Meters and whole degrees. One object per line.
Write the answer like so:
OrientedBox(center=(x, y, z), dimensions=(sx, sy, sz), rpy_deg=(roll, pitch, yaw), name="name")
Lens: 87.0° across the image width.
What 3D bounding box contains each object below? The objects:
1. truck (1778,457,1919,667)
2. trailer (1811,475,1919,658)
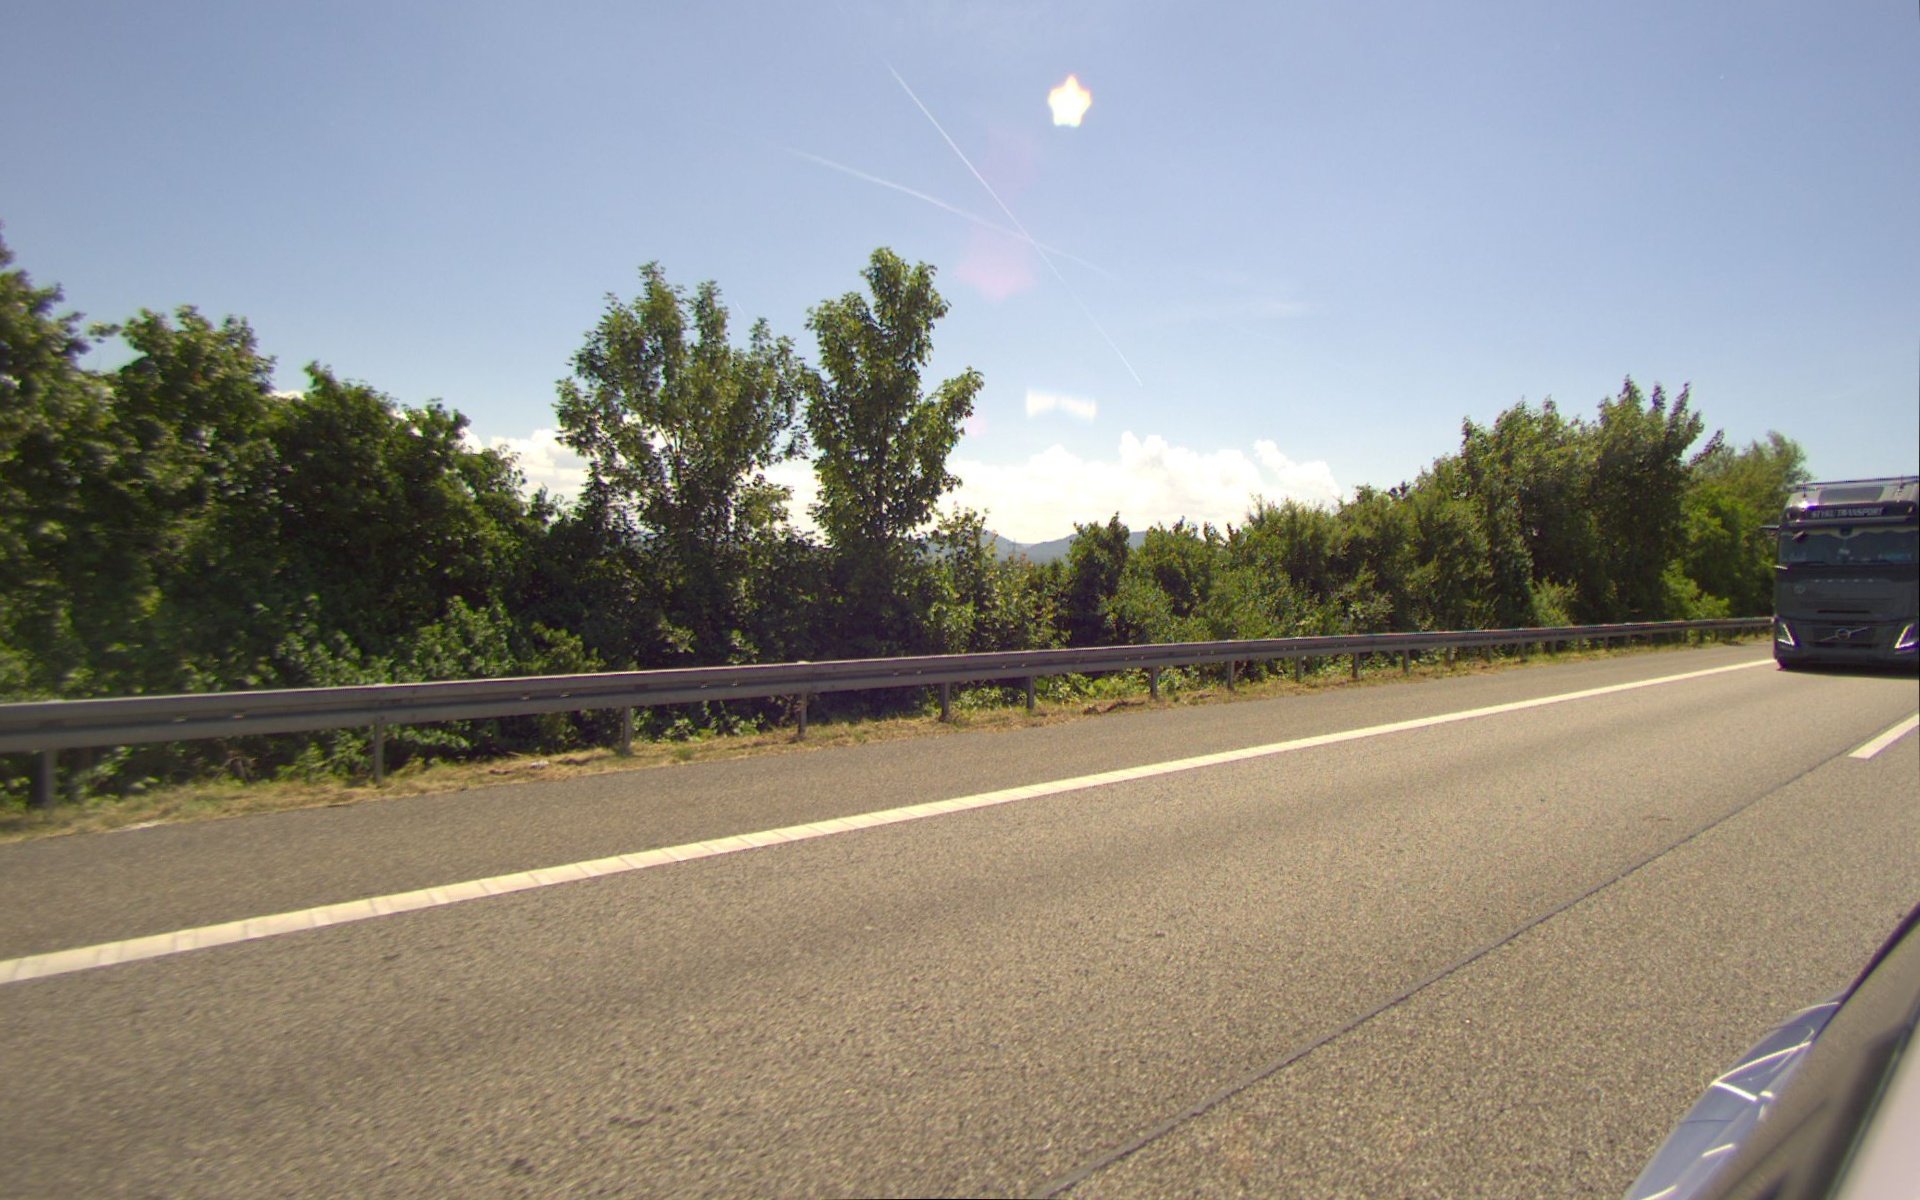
OrientedBox(center=(20.178, -0.738, 22.056), dimensions=(6.399, 4.004, 2.557), rpy_deg=(0, 0, -41), name="truck")
OrientedBox(center=(25.667, -0.759, 26.940), dimensions=(13.301, 4.004, 2.557), rpy_deg=(0, 1, -41), name="trailer")
